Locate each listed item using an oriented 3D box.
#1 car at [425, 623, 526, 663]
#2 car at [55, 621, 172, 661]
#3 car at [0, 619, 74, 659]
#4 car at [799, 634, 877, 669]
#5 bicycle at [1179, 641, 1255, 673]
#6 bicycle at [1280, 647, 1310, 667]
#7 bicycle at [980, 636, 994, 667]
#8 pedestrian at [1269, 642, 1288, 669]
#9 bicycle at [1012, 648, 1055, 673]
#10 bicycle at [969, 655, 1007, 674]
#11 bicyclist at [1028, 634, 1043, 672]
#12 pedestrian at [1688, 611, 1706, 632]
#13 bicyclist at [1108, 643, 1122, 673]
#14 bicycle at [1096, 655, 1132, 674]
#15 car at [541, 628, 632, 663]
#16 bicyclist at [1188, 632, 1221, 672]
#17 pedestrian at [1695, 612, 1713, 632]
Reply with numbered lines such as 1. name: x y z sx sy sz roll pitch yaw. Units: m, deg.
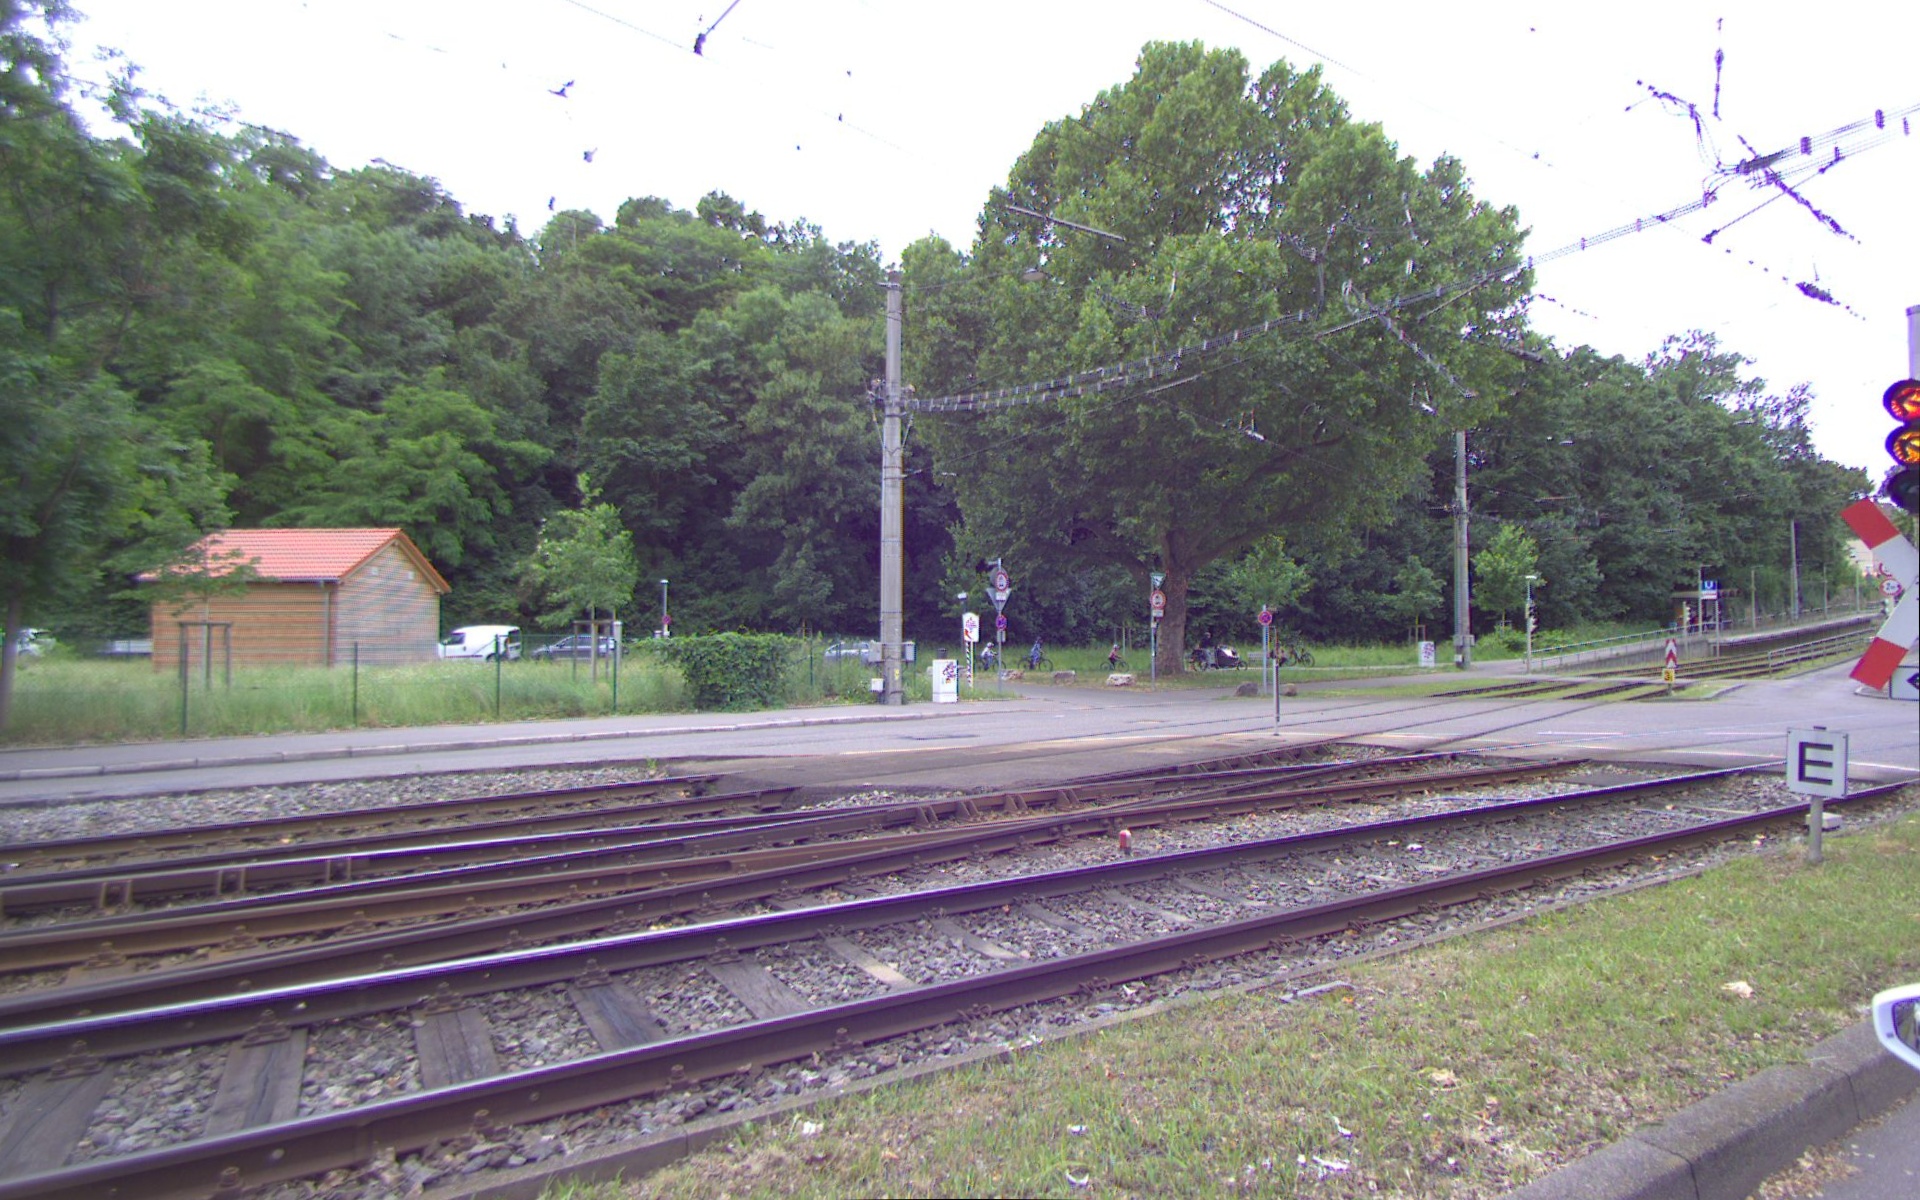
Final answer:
1. car: -21.906 1.937 45.519 3.610 1.634 1.909 2 0 -3
2. car: -37.593 1.817 44.675 3.610 1.634 1.757 2 0 -3
3. car: -41.785 1.689 44.353 3.612 1.634 1.756 2 0 -6
4. car: -5.653 2.385 46.845 3.436 1.443 1.700 2 0 -3
5. bicycle: 11.740 2.587 45.850 3.282 1.307 0.735 -2 2 -4
6. bicycle: 16.456 2.801 49.409 0.611 0.897 1.743 2 0 -10
7. bicycle: 1.204 2.321 45.166 0.507 1.348 0.454 -1 2 -12
8. pedestrian: 15.458 2.688 48.789 0.662 1.251 0.578 2 0 -16
9. bicycle: 3.353 2.754 45.777 1.908 1.055 0.475 0 1 -6
10. bicycle: 1.252 2.892 45.186 1.624 0.749 0.454 -1 2 -12
11. bicyclist: 3.429 2.429 45.774 0.612 1.697 0.475 0 2 -6
12. pedestrian: 49.093 1.447 66.926 0.780 1.344 0.766 -1 2 -37
13. bicyclist: 7.070 2.638 45.805 0.570 1.319 0.455 -2 2 0
14. bicycle: 7.015 2.928 45.815 1.528 0.749 0.455 -2 2 0
15. car: -16.860 2.038 45.463 3.436 1.443 1.700 2 0 -3
16. bicyclist: 11.153 2.354 45.790 1.267 1.734 0.735 -2 2 -4
17. pedestrian: 50.056 1.480 67.577 0.780 1.344 0.766 2 0 -38
